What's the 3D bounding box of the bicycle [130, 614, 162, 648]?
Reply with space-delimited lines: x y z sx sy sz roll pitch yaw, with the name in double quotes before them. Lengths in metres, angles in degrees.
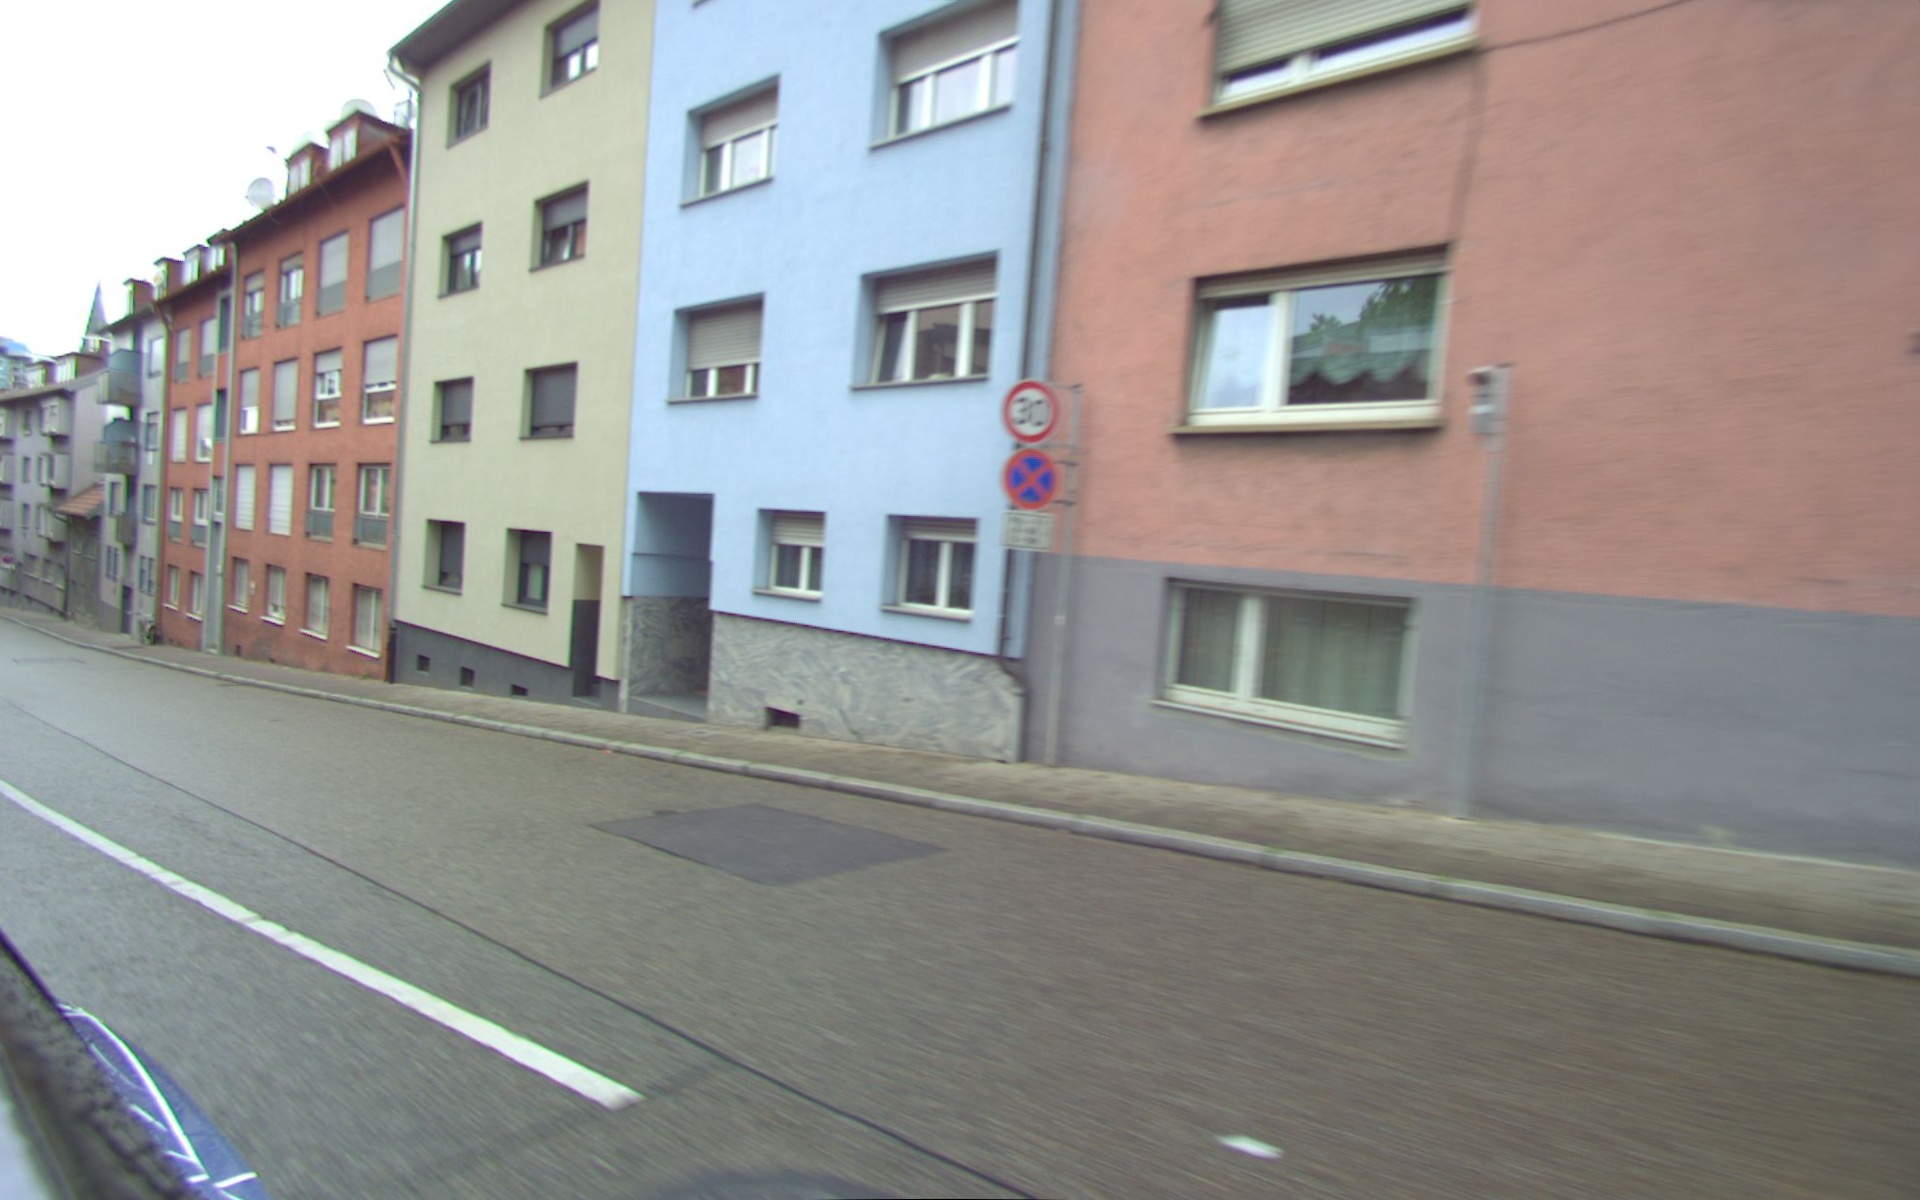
"bicycle" -29.584 1.109 36.761 2.039 1.125 0.565 1 2 42
